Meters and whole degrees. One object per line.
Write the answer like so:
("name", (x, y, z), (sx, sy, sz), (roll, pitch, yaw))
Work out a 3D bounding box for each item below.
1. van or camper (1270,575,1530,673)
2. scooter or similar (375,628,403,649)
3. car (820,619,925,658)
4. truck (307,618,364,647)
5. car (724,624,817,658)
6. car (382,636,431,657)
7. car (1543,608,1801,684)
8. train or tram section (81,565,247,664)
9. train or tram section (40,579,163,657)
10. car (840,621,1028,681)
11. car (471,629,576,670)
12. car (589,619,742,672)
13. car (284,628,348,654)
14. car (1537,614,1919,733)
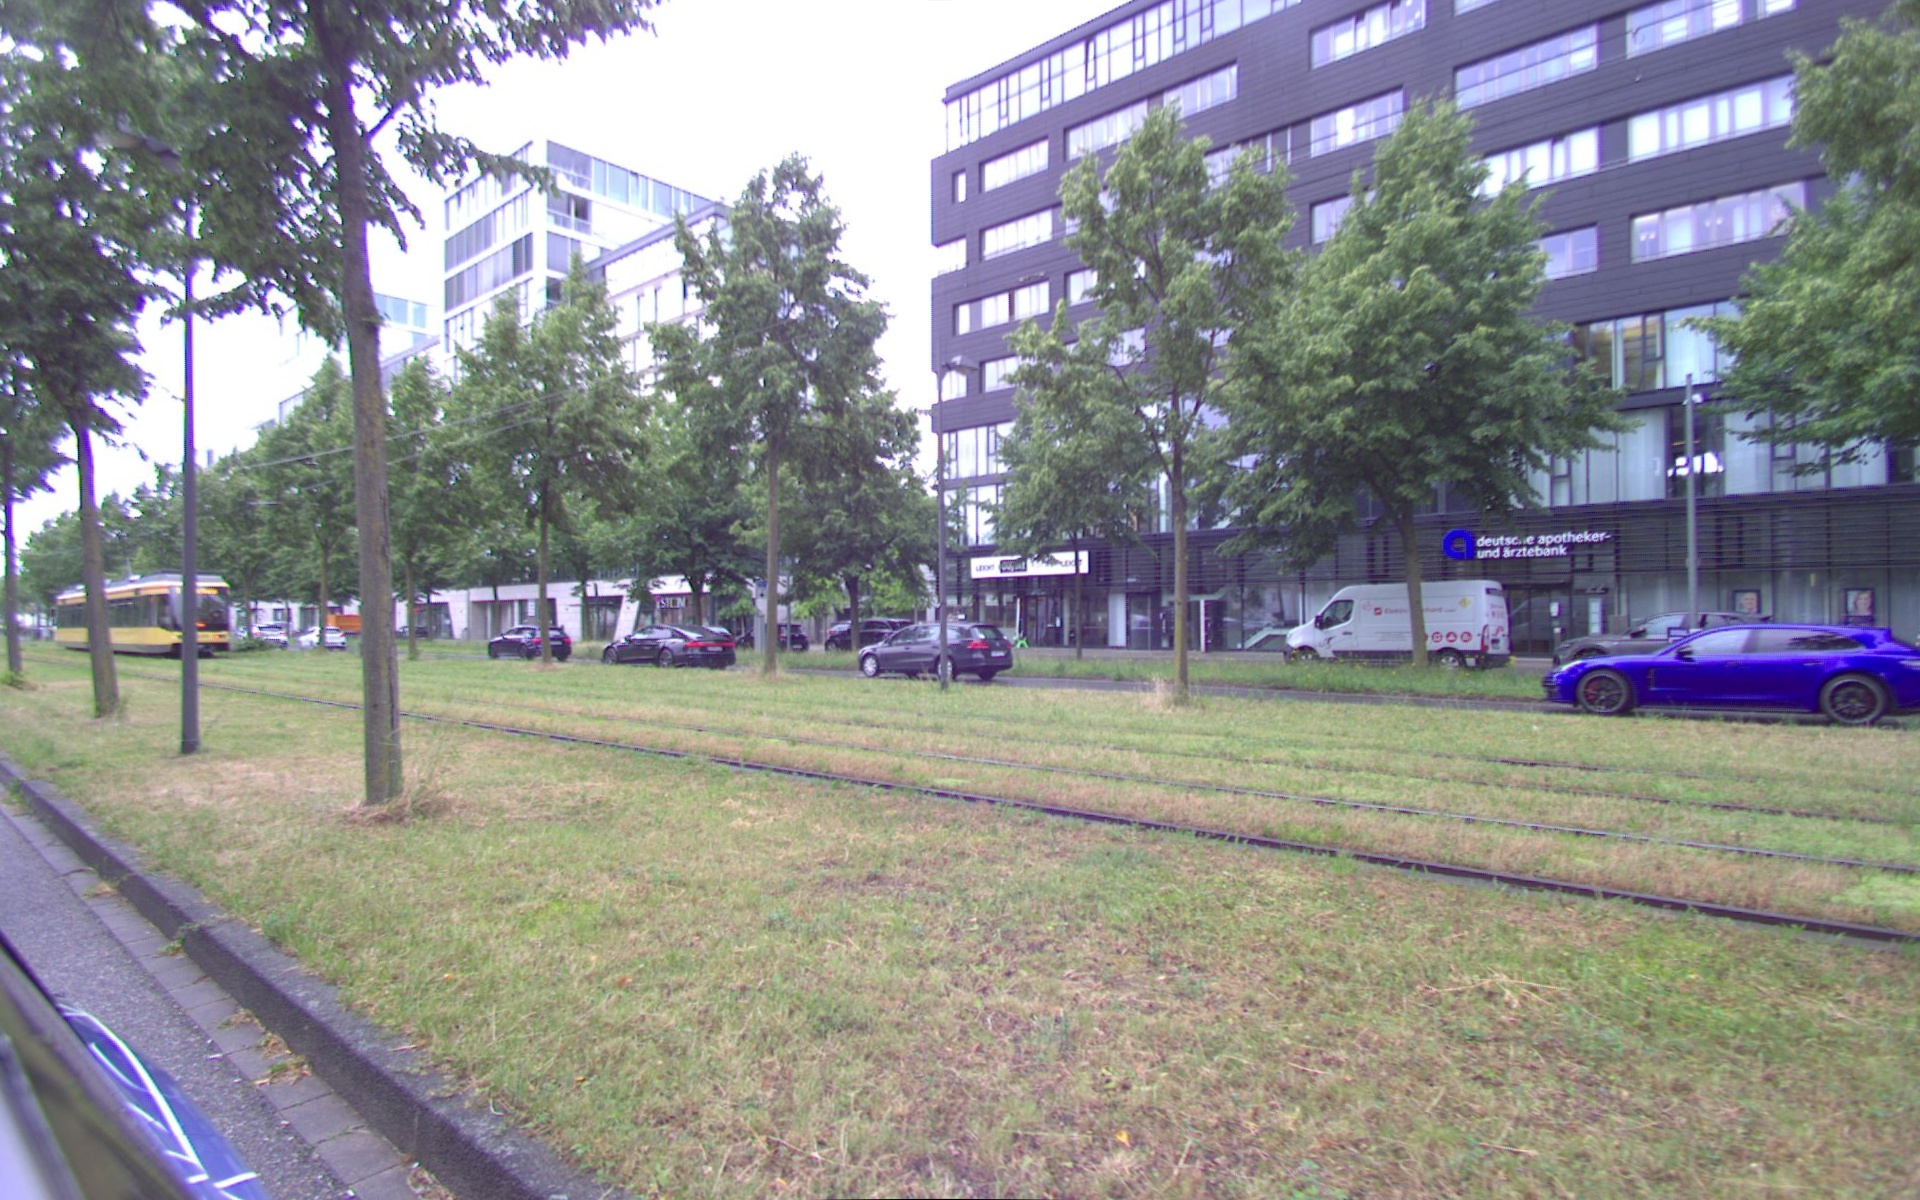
("van or camper", (11.551, 0.637, 26.878), (5.848, 2.333, 2.407), (-2, -1, 42))
("scooter or similar", (-53.038, 3.574, 94.071), (0.884, 1.838, 2.104), (-2, -1, 37))
("car", (-3.502, 1.505, 40.010), (4.240, 1.460, 1.684), (-2, -1, 42))
("truck", (-52.458, 2.721, 84.945), (6.306, 2.309, 2.401), (-2, -1, 41))
("car", (-8.391, 1.773, 44.663), (3.998, 1.389, 1.972), (-2, -1, 42))
("car", (-39.600, 3.304, 72.349), (3.986, 1.476, 1.835), (-2, -2, 41))
("car", (15.976, 0.986, 22.845), (4.603, 1.533, 1.973), (-2, -1, 40))
("train or tram section", (-34.872, 0.718, 43.919), (15.058, 3.687, 3.096), (-2, -1, 42))
("train or tram section", (-45.476, 1.011, 53.371), (13.401, 3.687, 3.096), (-2, -1, 42))
("car", (-0.755, 1.288, 26.422), (4.870, 1.390, 1.973), (-2, -1, 41))
("car", (-17.782, 1.964, 41.154), (4.869, 1.533, 1.973), (-2, -1, 40))
("car", (-8.609, 1.269, 29.388), (4.870, 1.390, 1.973), (-1, -1, 41))
("car", (-39.001, 2.461, 61.258), (4.869, 1.533, 1.973), (-2, -1, 40))
("car", (11.697, 1.015, 15.172), (5.008, 1.533, 1.973), (-2, -1, 40))
